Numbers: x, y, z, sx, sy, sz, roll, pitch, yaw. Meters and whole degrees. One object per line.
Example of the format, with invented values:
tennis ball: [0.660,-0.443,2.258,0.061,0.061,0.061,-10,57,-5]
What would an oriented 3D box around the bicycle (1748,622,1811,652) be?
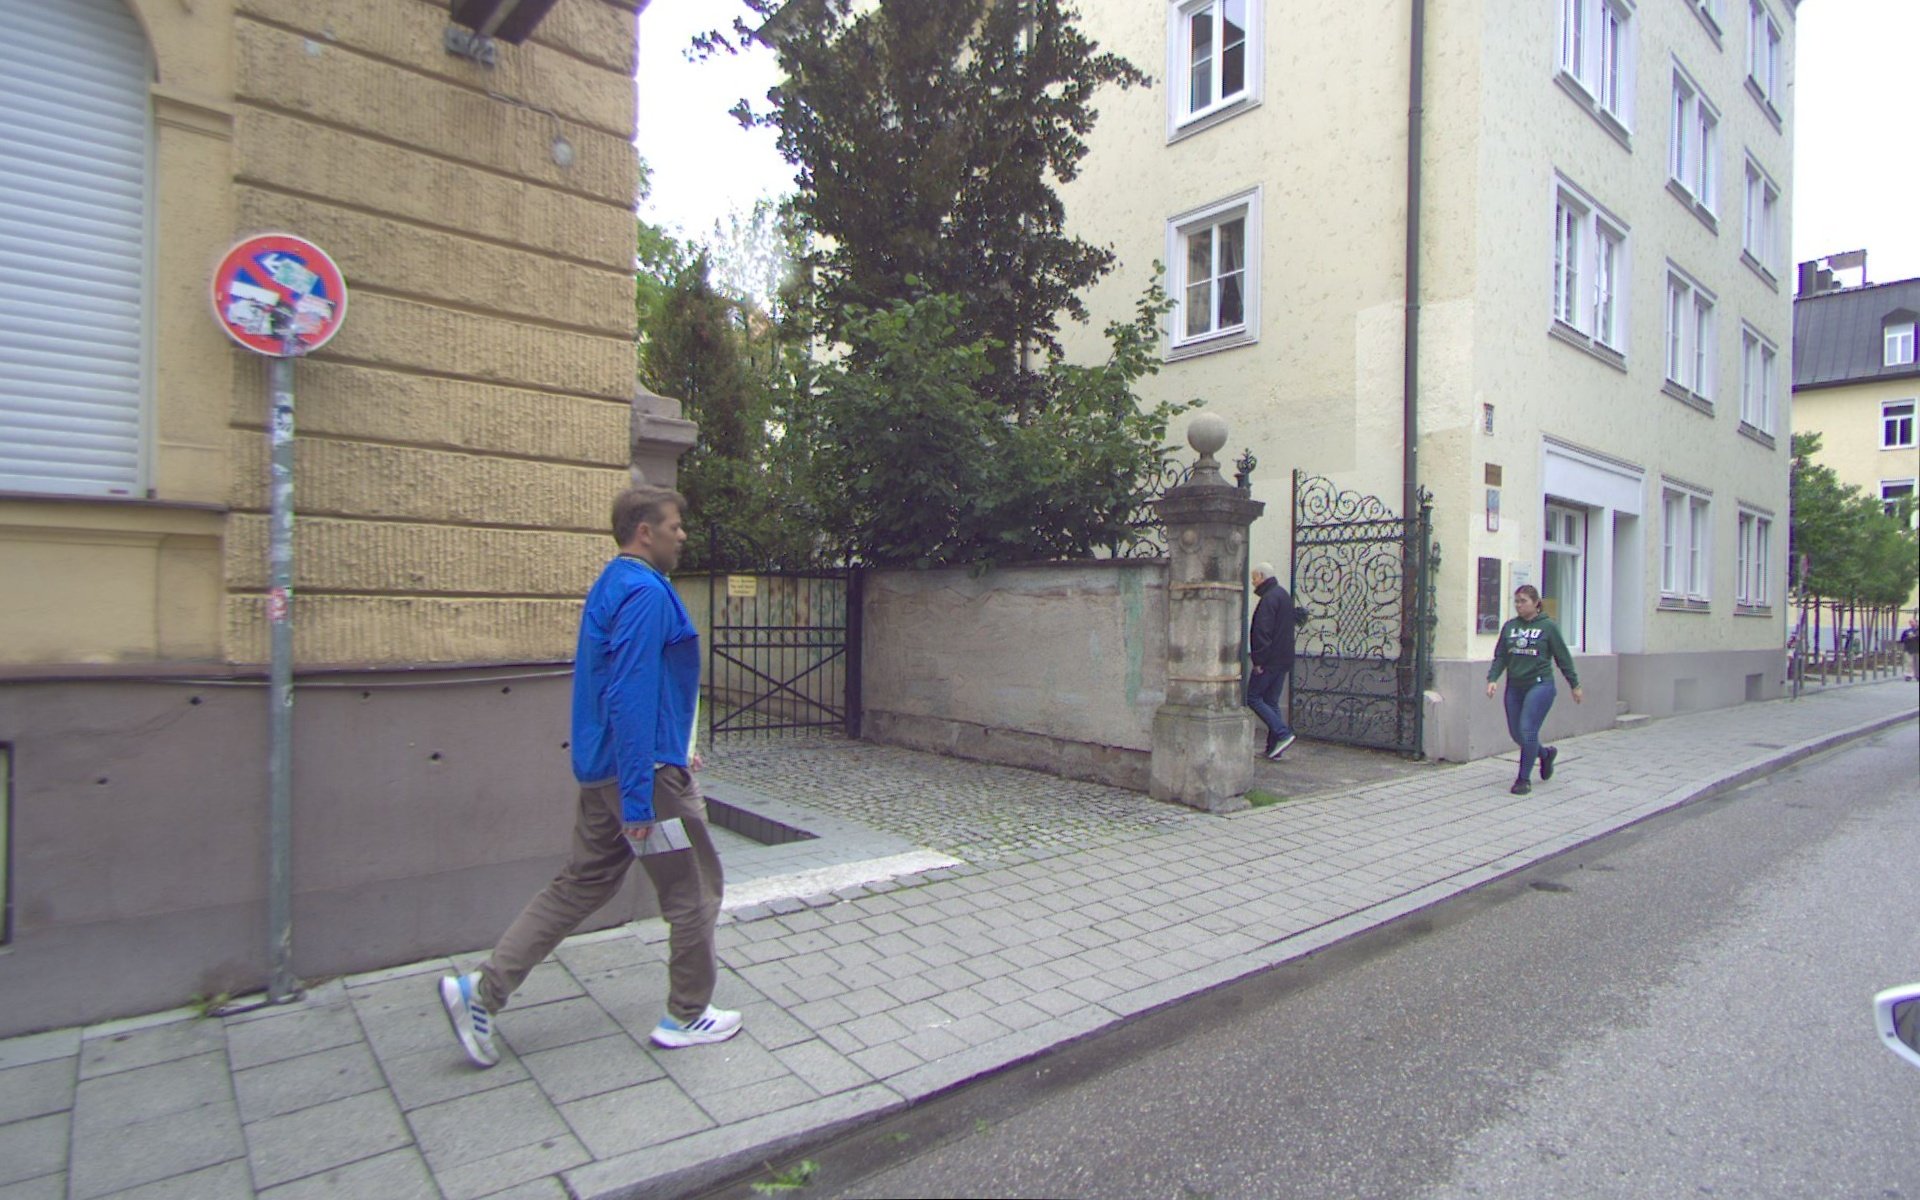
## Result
bicycle: [35.686,1.619,43.763,0.564,1.214,2.032,1,0,-32]

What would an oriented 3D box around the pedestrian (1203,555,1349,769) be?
pedestrian: [2.930,0.541,9.335,0.901,1.851,0.945,1,0,-40]

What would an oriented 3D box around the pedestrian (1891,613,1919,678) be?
pedestrian: [25.269,1.206,26.722,0.718,1.699,0.641,1,0,-41]

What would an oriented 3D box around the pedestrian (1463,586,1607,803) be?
pedestrian: [4.863,0.753,8.496,0.922,1.688,0.706,1,2,-40]

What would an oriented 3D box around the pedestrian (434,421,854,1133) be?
pedestrian: [-1.025,0.472,3.284,1.068,1.879,0.750,1,1,-40]
